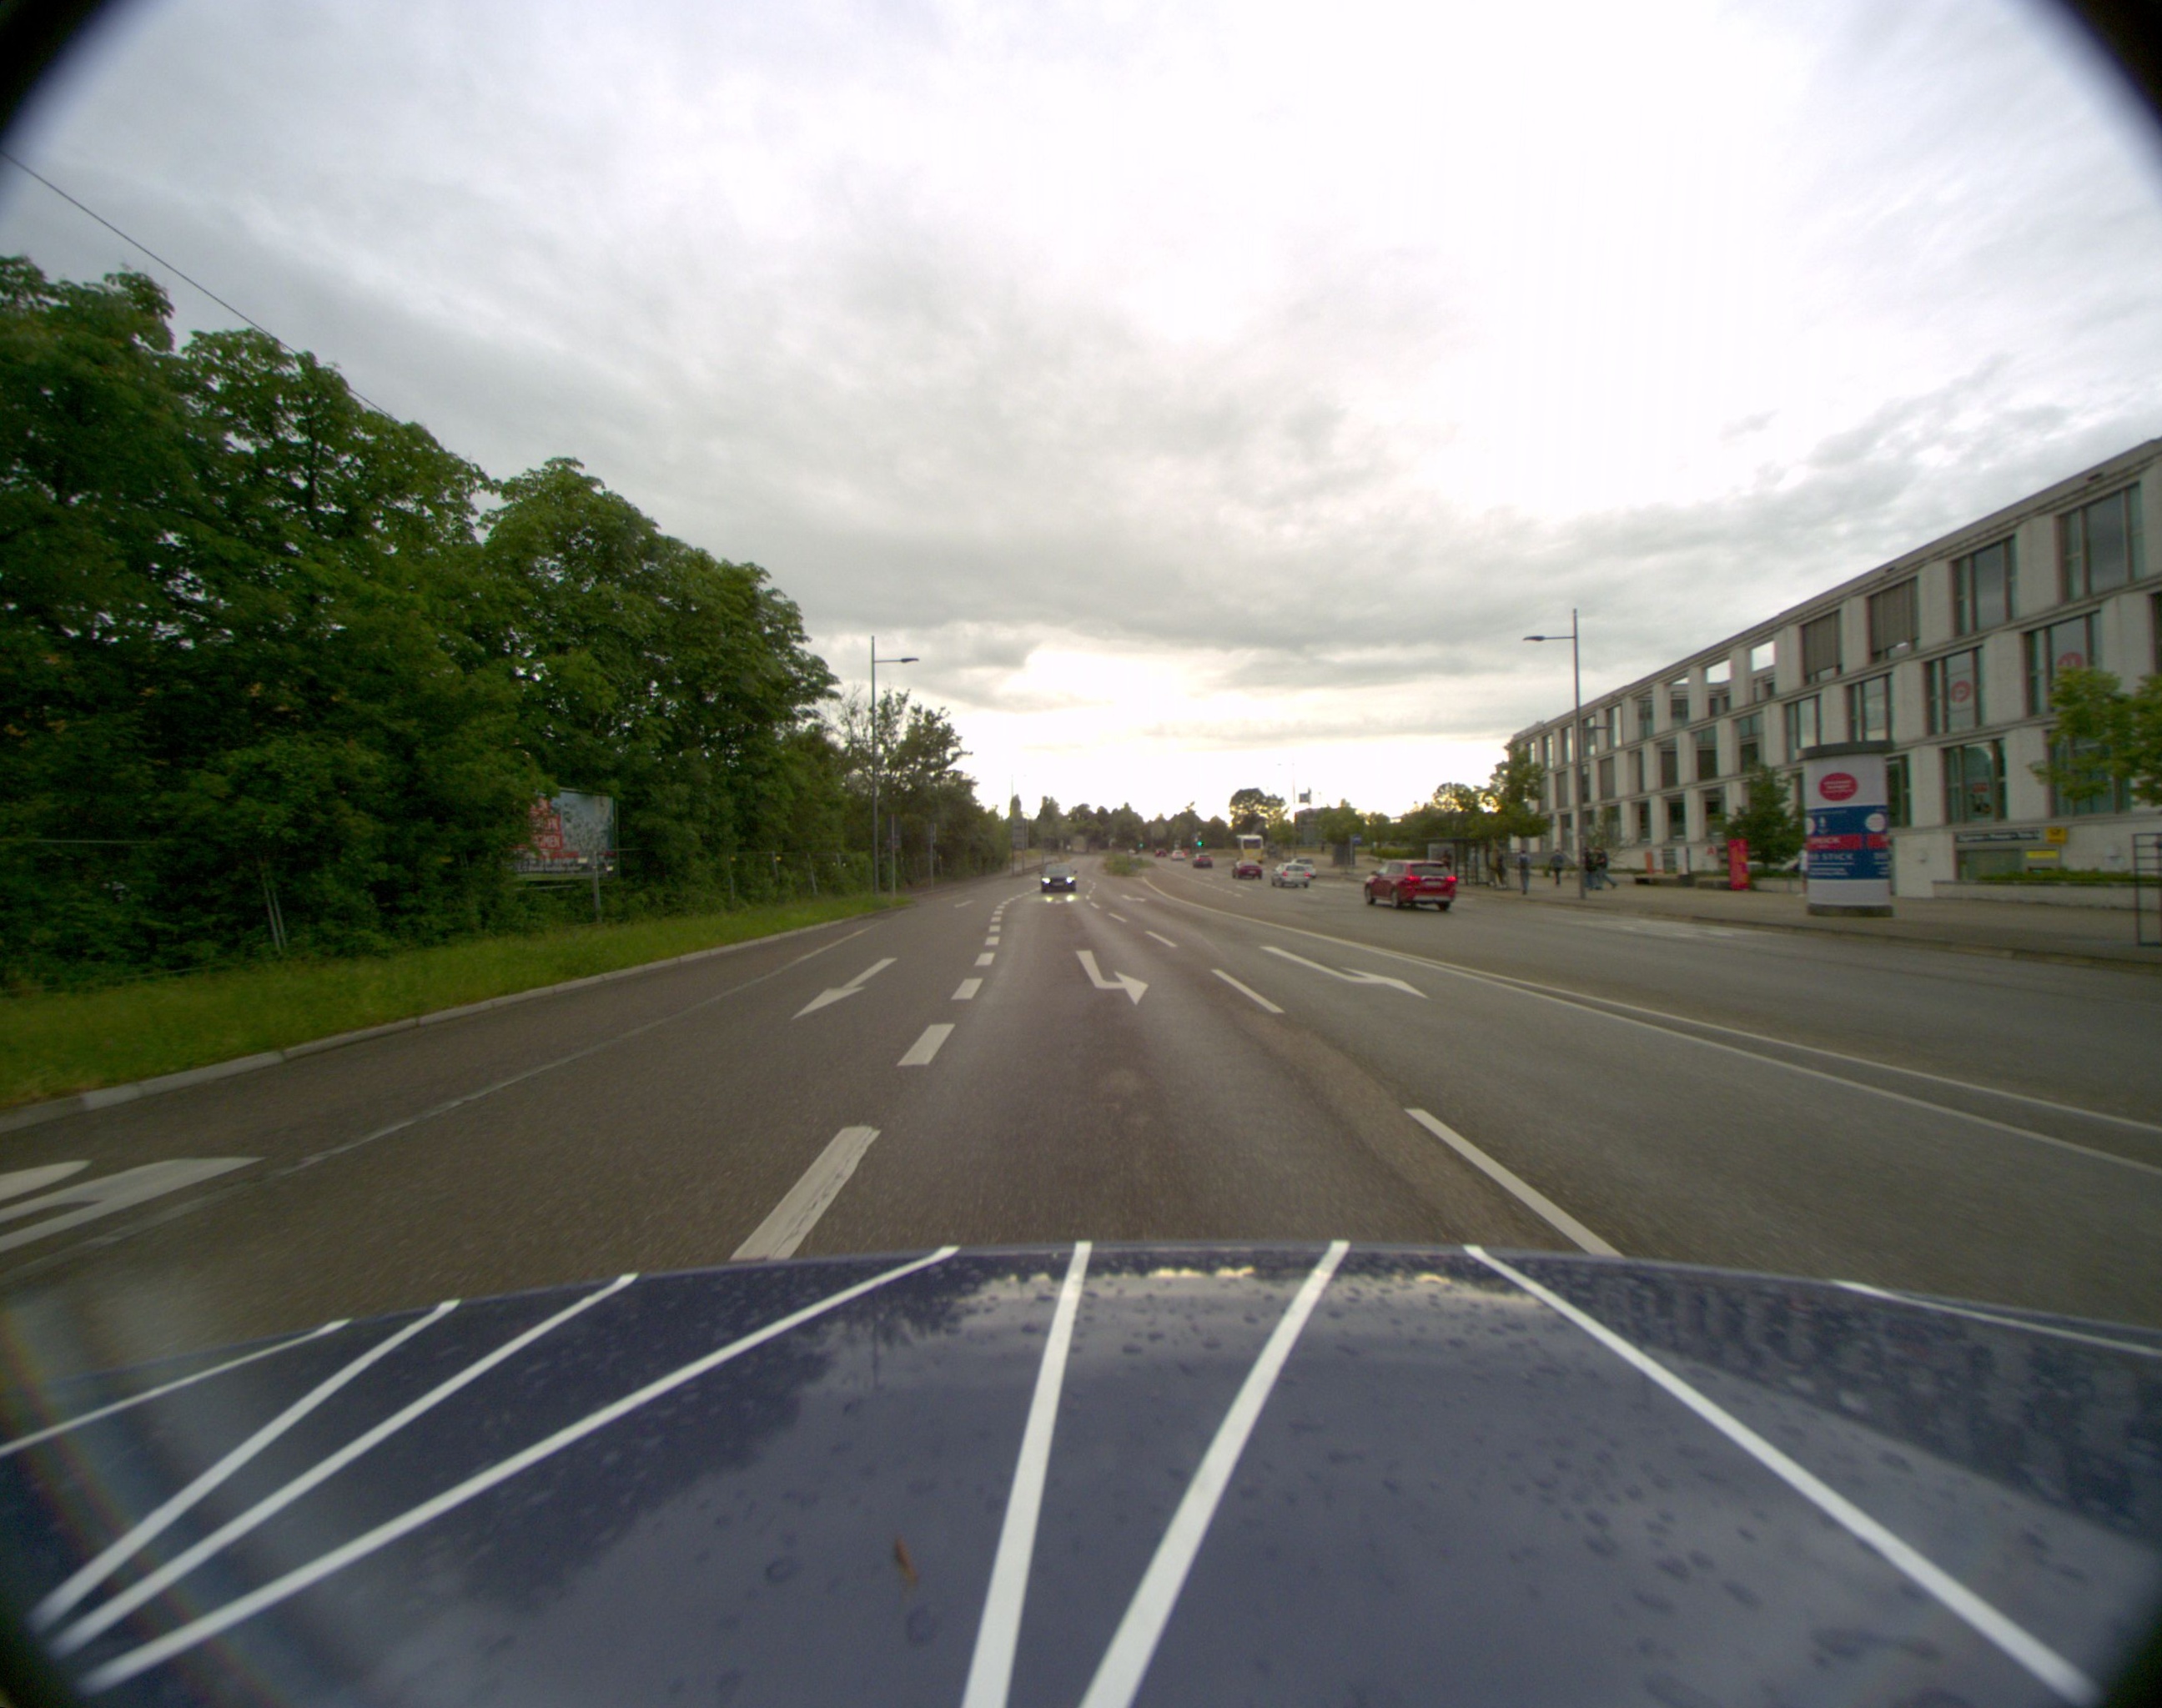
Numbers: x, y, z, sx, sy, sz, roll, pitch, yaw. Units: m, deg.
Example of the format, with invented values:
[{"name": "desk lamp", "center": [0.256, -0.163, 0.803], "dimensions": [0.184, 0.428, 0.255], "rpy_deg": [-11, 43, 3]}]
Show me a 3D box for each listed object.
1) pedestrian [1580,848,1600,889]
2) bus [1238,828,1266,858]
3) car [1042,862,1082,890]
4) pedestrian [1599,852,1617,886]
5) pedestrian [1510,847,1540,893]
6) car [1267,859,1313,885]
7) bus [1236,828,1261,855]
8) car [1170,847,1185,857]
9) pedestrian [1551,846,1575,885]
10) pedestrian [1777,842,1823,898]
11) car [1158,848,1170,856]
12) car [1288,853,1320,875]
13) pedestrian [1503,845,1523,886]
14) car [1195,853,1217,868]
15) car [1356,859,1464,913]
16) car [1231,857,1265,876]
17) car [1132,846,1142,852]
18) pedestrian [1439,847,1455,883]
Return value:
[{"name": "pedestrian", "center": [21.201, 0.594, 31.654], "dimensions": [0.427, 1.715, 0.621], "rpy_deg": [-1, 1, 3]}, {"name": "bus", "center": [21.293, -1.476, 94.850], "dimensions": [2.826, 3.453, 8.234], "rpy_deg": [-2, 2, 10]}, {"name": "car", "center": [-1.019, 1.119, 40.074], "dimensions": [1.990, 1.391, 4.176], "rpy_deg": [-1, 0, -2]}, {"name": "pedestrian", "center": [22.415, 0.630, 32.337], "dimensions": [0.427, 1.443, 0.510], "rpy_deg": [-1, 1, 3]}, {"name": "pedestrian", "center": [17.695, 0.633, 30.290], "dimensions": [0.755, 1.831, 0.746], "rpy_deg": [-1, 1, 5]}, {"name": "car", "center": [12.291, 1.009, 44.902], "dimensions": [1.766, 1.408, 3.879], "rpy_deg": [2, 0, 2]}, {"name": "bus", "center": [22.780, -1.801, 103.832], "dimensions": [2.826, 3.453, 9.978], "rpy_deg": [-2, 2, 10]}, {"name": "car", "center": [14.418, -0.328, 113.709], "dimensions": [1.877, 1.422, 4.176], "rpy_deg": [2, 1, 2]}, {"name": "pedestrian", "center": [22.180, 0.529, 34.993], "dimensions": [0.600, 1.752, 0.857], "rpy_deg": [-1, 1, 5]}, {"name": "pedestrian", "center": [22.401, 0.490, 23.672], "dimensions": [0.499, 1.680, 0.914], "rpy_deg": [-1, 1, -14]}, {"name": "car", "center": [14.878, -0.338, 136.737], "dimensions": [1.851, 1.454, 3.867], "rpy_deg": [0, 1, 2]}, {"name": "car", "center": [16.856, 0.731, 57.595], "dimensions": [1.617, 1.499, 2.972], "rpy_deg": [-2, 1, 2]}, {"name": "pedestrian", "center": [19.840, 0.515, 34.892], "dimensions": [0.581, 1.845, 0.607], "rpy_deg": [-1, 1, 0]}, {"name": "car", "center": [14.308, 0.699, 87.204], "dimensions": [1.836, 1.563, 4.593], "rpy_deg": [2, 1, 2]}, {"name": "car", "center": [11.396, 1.032, 26.686], "dimensions": [1.857, 1.673, 4.738], "rpy_deg": [2, 0, 2]}, {"name": "car", "center": [13.000, 0.943, 59.439], "dimensions": [1.836, 1.408, 4.466], "rpy_deg": [2, 0, 2]}, {"name": "car", "center": [12.904, -1.190, 174.682], "dimensions": [1.998, 1.410, 4.513], "rpy_deg": [-1, 1, 2]}, {"name": "pedestrian", "center": [18.835, 0.560, 39.111], "dimensions": [0.508, 1.831, 0.755], "rpy_deg": [-1, 1, 2]}]
